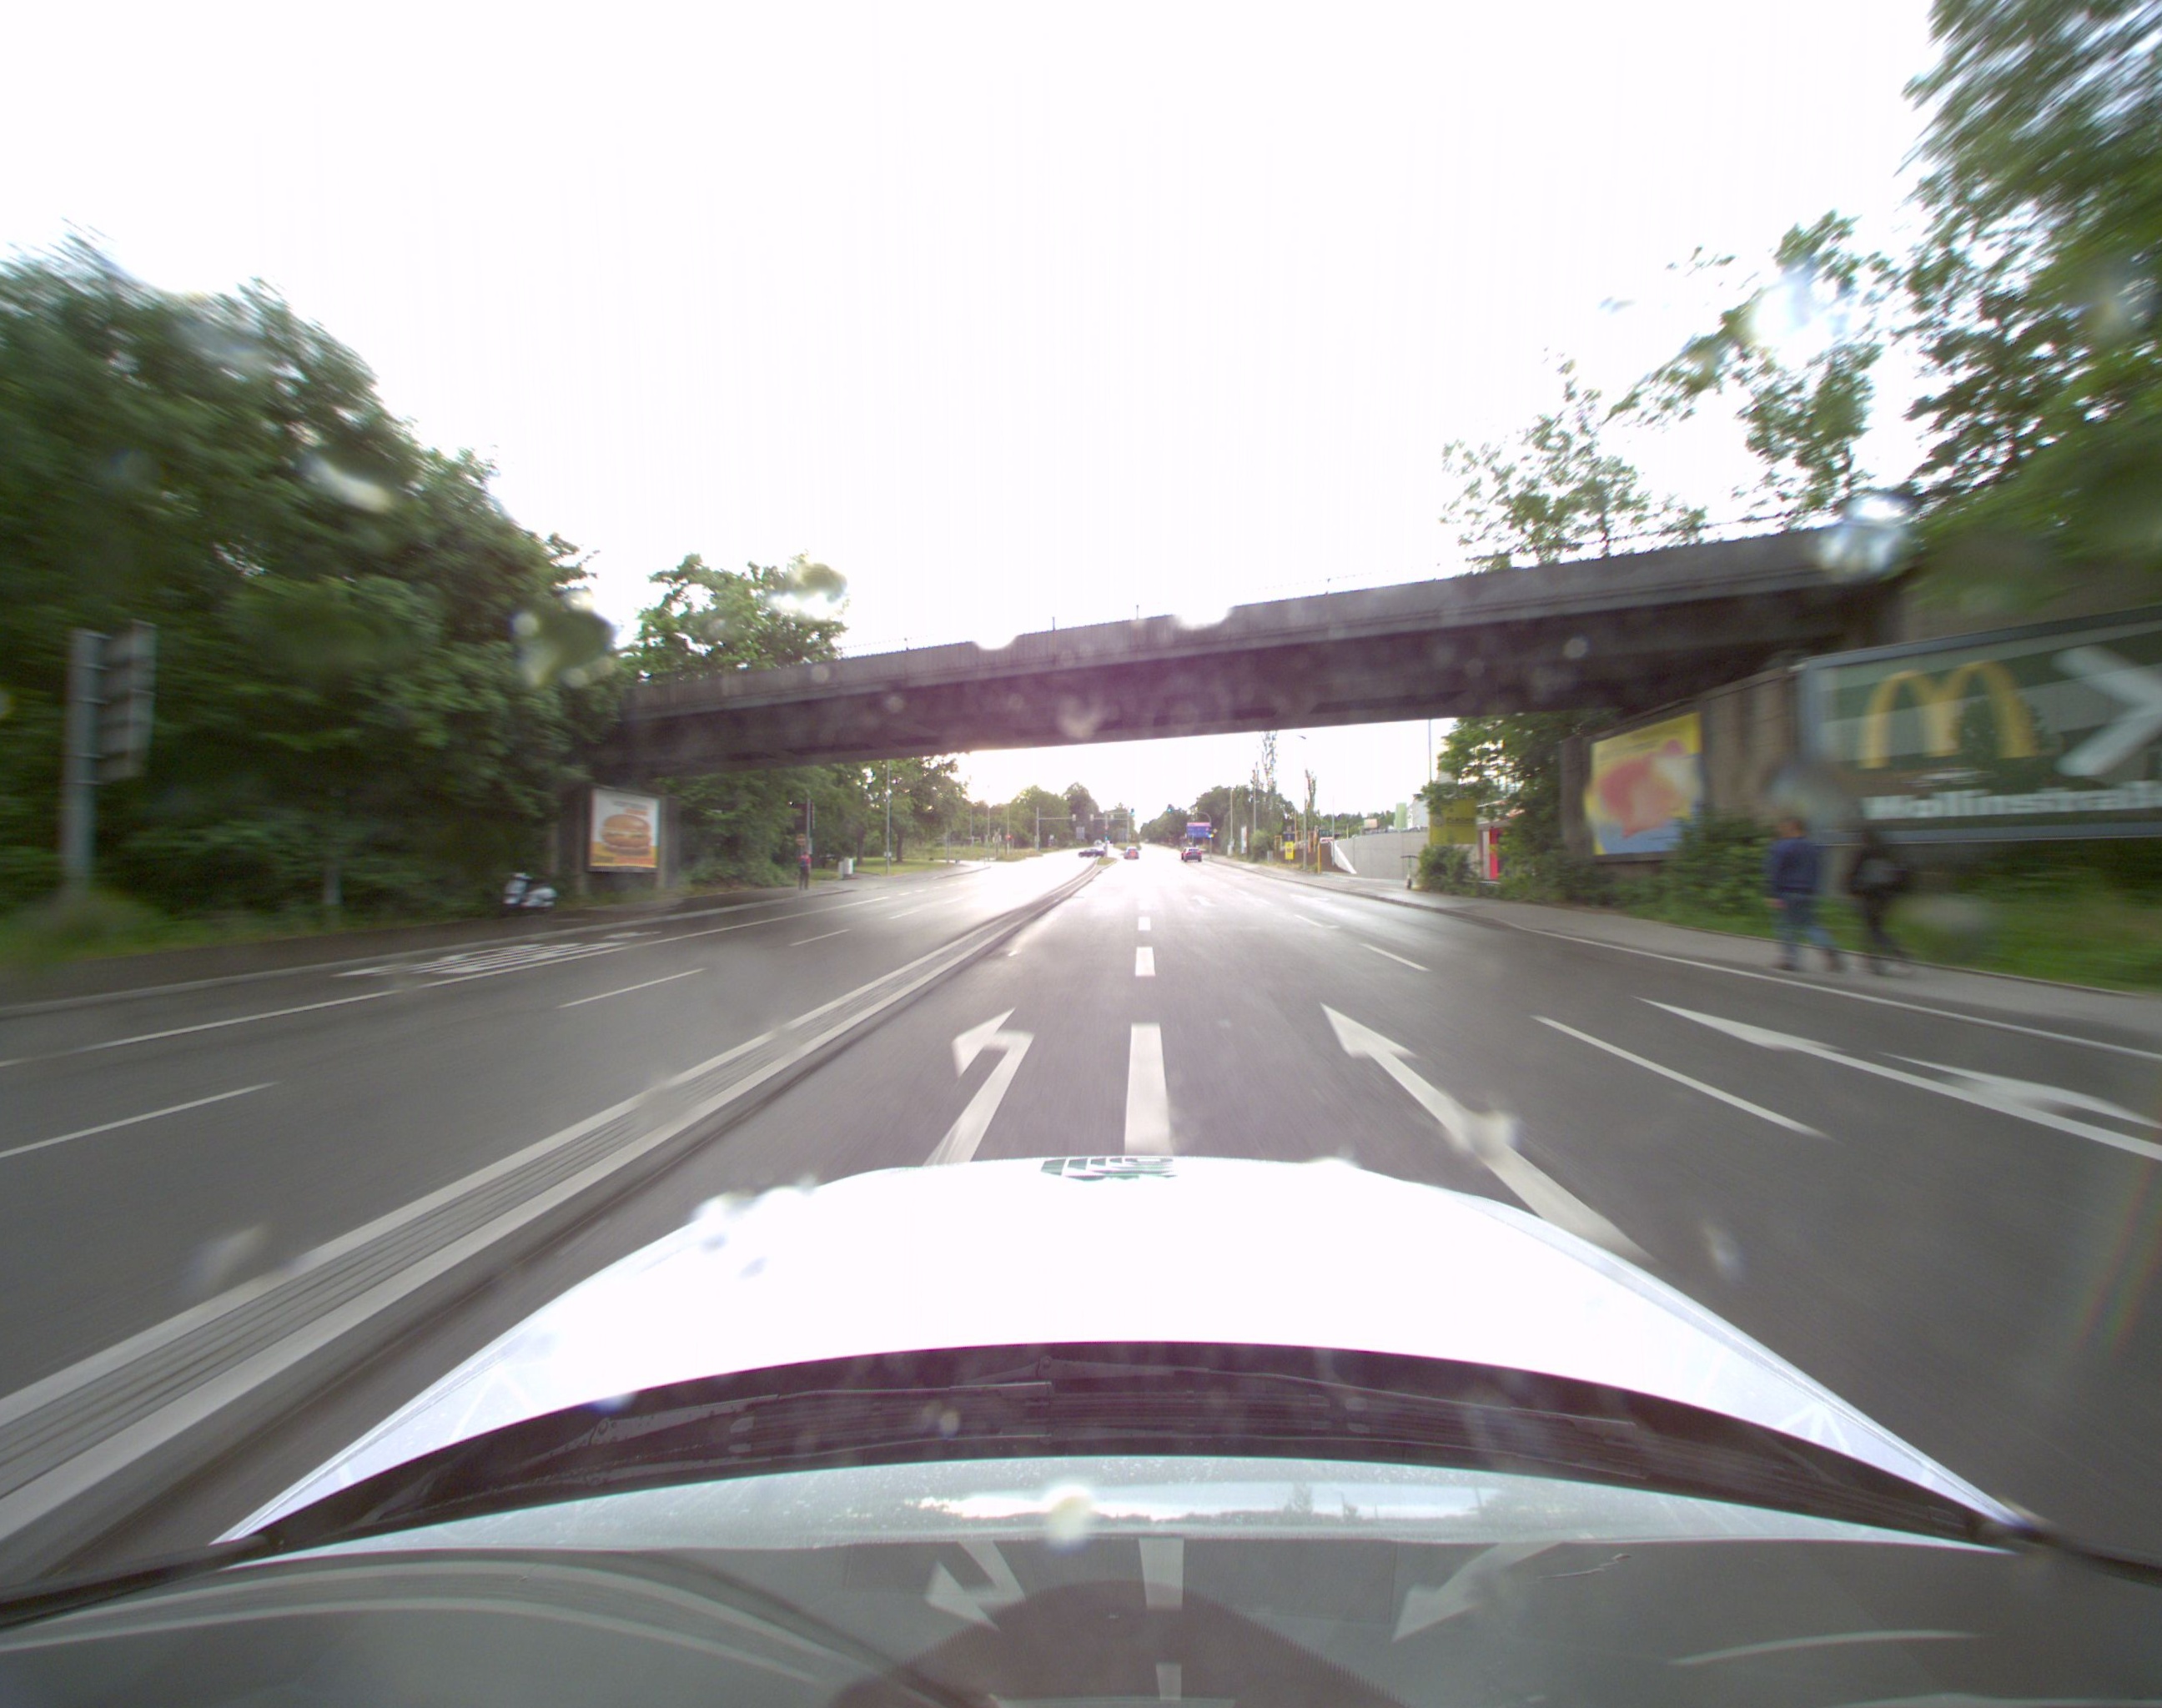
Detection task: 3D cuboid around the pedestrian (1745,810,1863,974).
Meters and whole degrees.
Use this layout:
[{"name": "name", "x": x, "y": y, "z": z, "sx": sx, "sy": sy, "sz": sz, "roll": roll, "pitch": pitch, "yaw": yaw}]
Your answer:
[{"name": "pedestrian", "x": 8.003, "y": 0.409, "z": 9.052, "sx": 0.606, "sy": 1.721, "sz": 0.895, "roll": -1, "pitch": -1, "yaw": 14}]

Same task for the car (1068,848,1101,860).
[{"name": "car", "x": 0.515, "y": 0.000, "z": 115.930, "sx": 4.635, "sy": 1.583, "sz": 2.172, "roll": 1, "pitch": -1, "yaw": -2}]

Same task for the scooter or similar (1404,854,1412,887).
[{"name": "scooter or similar", "x": 11.425, "y": 0.558, "z": 28.469, "sx": 0.253, "sy": 1.129, "sz": 1.286, "roll": 0, "pitch": 0, "yaw": 21}]

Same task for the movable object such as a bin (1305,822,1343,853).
[{"name": "movable object such as a bin", "x": 26.316, "y": -1.818, "z": 88.501, "sx": 2.297, "sy": 3.276, "sz": 5.418, "roll": 0, "pitch": 1, "yaw": -3}]

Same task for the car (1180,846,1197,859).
[{"name": "car", "x": 12.704, "y": -0.204, "z": 96.742, "sx": 1.737, "sy": 1.470, "sz": 4.170, "roll": 0, "pitch": 1, "yaw": 4}]

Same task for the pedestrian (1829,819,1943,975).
[{"name": "pedestrian", "x": 8.594, "y": 0.445, "z": 8.719, "sx": 0.645, "sy": 1.596, "sz": 0.581, "roll": -1, "pitch": -1, "yaw": 16}]

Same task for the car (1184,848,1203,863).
[{"name": "car", "x": 11.833, "y": 0.122, "z": 85.855, "sx": 1.737, "sy": 1.470, "sz": 4.170, "roll": 0, "pitch": 1, "yaw": 4}]

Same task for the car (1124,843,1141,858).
[{"name": "car", "x": 6.630, "y": -0.417, "z": 104.254, "sx": 2.068, "sy": 1.718, "sz": 4.200, "roll": 1, "pitch": -1, "yaw": 2}]

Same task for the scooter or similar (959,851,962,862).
[{"name": "scooter or similar", "x": -13.667, "y": 0.326, "z": 92.463, "sx": 0.311, "sy": 1.218, "sz": 1.303, "roll": 0, "pitch": 1, "yaw": -9}]

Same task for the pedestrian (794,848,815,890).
[{"name": "pedestrian", "x": -12.264, "y": 0.646, "z": 36.105, "sx": 0.516, "sy": 1.816, "sz": 0.802, "roll": 0, "pitch": 0, "yaw": 14}]

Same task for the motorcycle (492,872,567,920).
[{"name": "motorcycle", "x": -14.578, "y": 1.085, "z": 21.596, "sx": 0.466, "sy": 1.158, "sz": 1.936, "roll": -1, "pitch": 0, "yaw": 8}]
